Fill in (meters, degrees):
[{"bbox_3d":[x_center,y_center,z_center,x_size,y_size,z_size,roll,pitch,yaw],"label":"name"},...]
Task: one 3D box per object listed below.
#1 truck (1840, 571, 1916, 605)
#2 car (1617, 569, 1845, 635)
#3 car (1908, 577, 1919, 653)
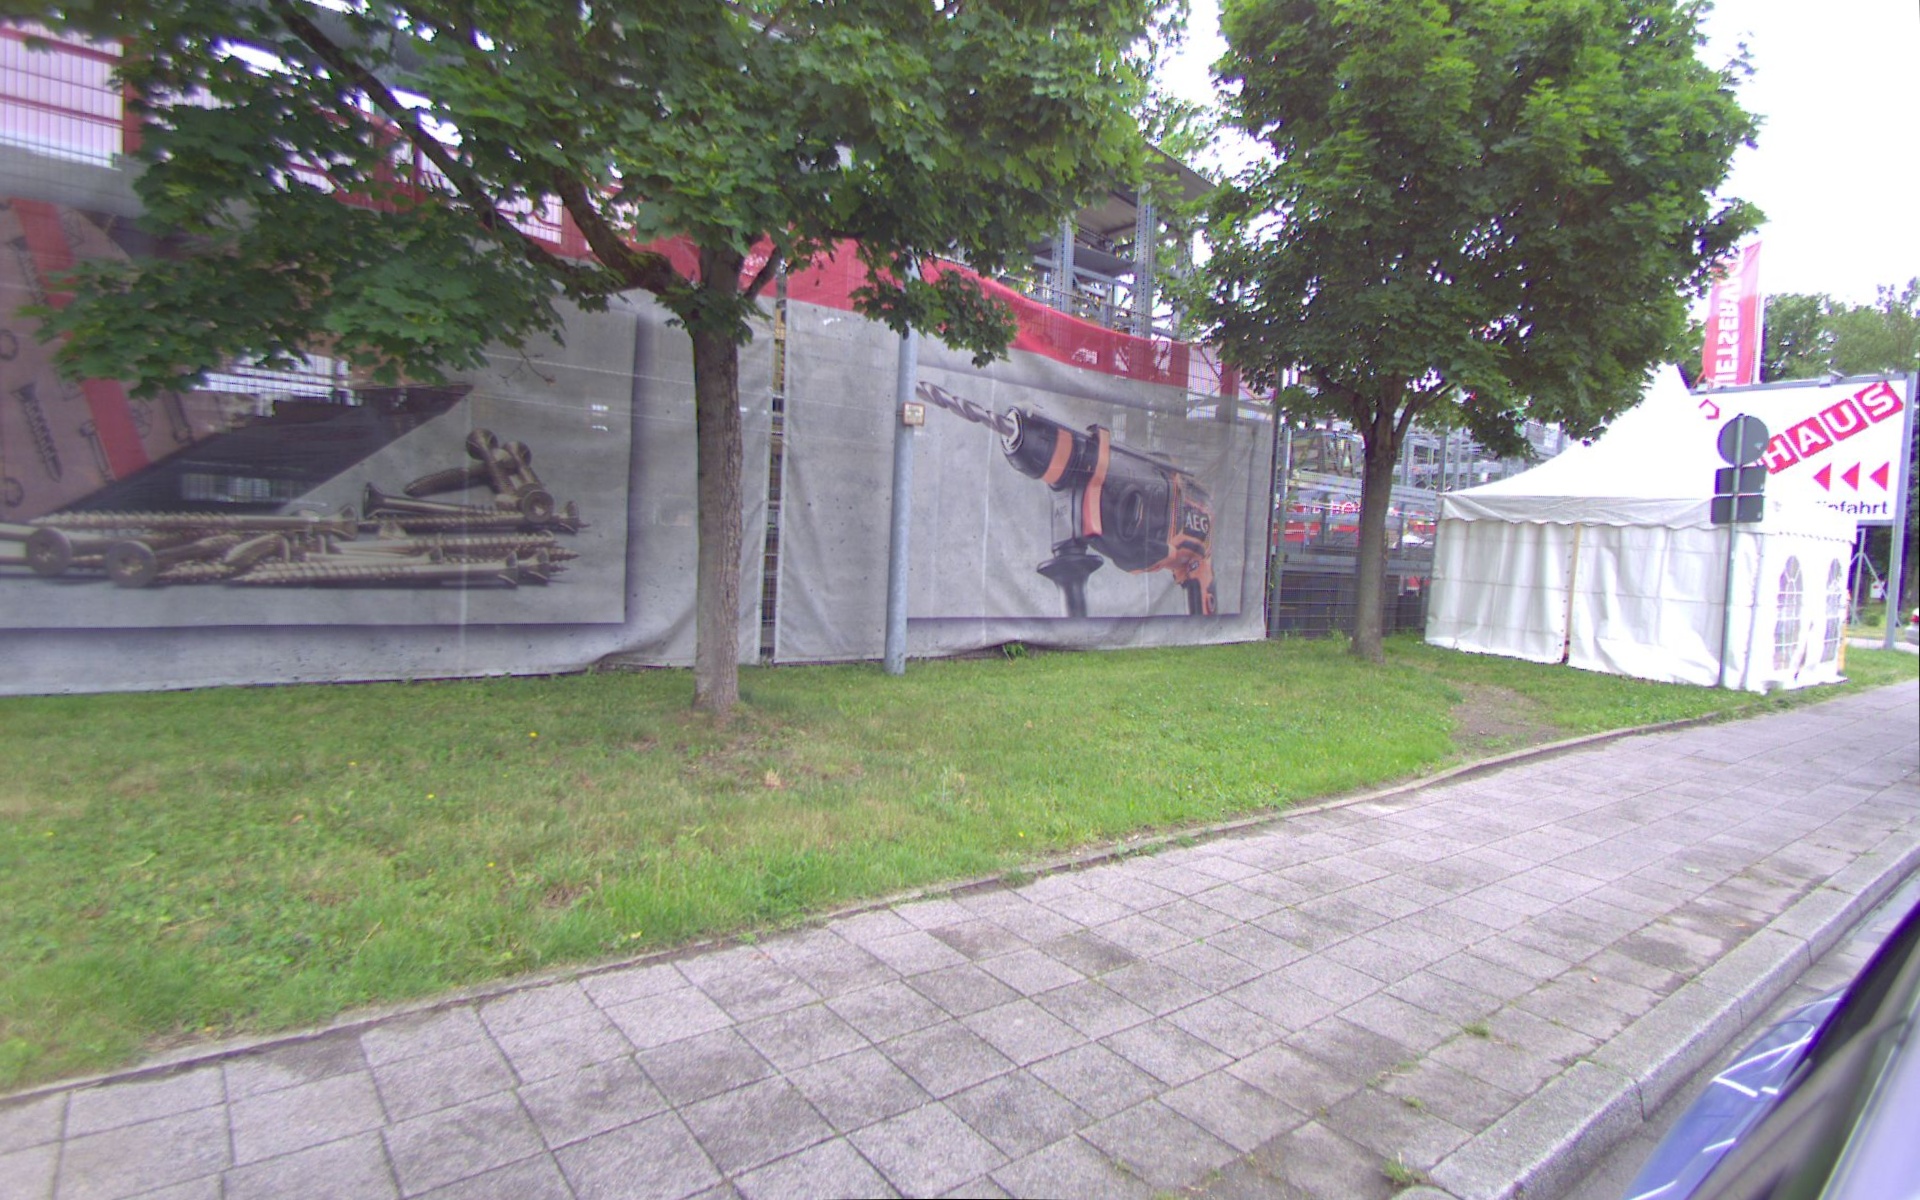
[{"bbox_3d":[71.918,-0.964,79.333,3.926,2.425,2.000,3,3,2],"label":"truck"},{"bbox_3d":[20.636,-0.016,27.263,1.903,1.445,4.496,-1,4,-36],"label":"car"},{"bbox_3d":[21.510,0.411,19.923,1.739,1.603,3.699,1,2,-19],"label":"car"}]
